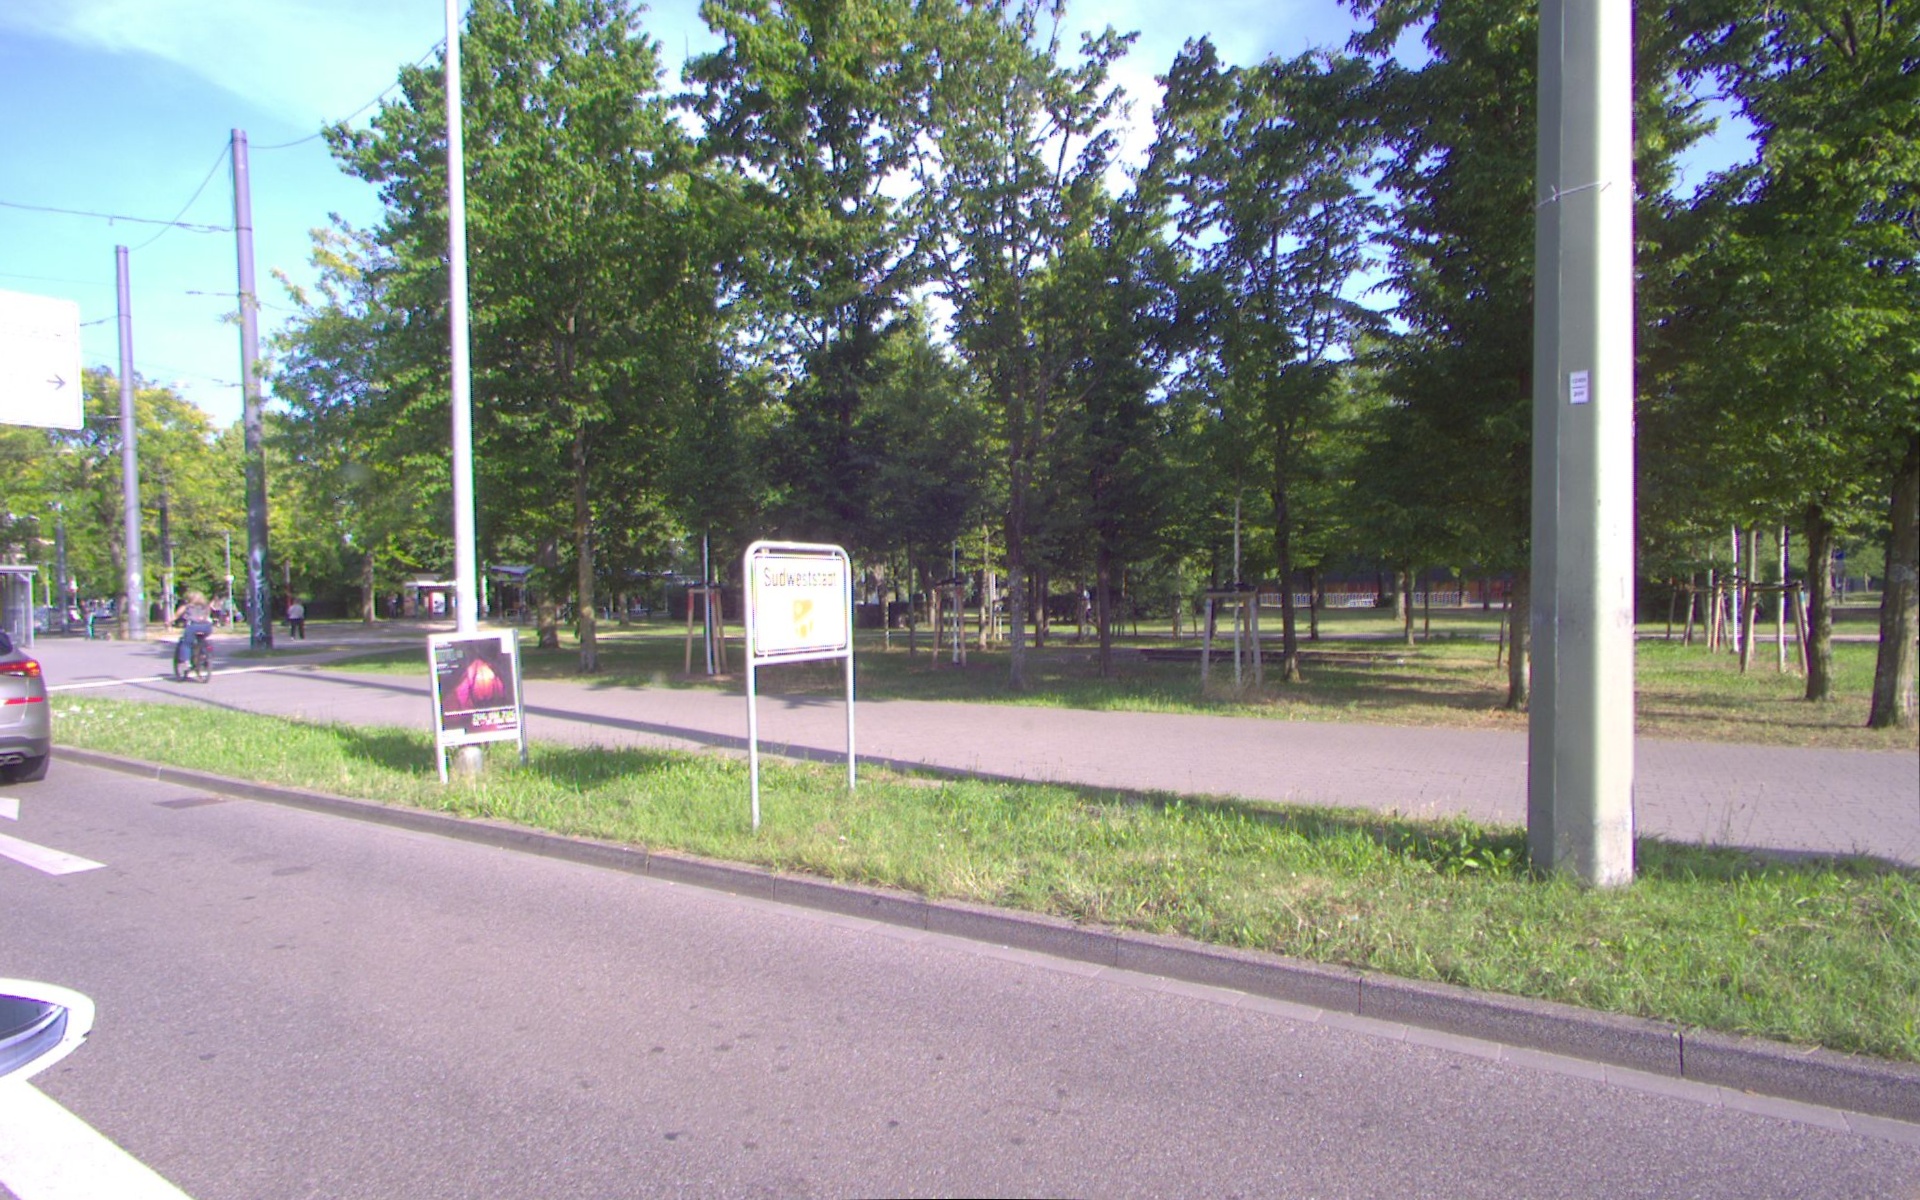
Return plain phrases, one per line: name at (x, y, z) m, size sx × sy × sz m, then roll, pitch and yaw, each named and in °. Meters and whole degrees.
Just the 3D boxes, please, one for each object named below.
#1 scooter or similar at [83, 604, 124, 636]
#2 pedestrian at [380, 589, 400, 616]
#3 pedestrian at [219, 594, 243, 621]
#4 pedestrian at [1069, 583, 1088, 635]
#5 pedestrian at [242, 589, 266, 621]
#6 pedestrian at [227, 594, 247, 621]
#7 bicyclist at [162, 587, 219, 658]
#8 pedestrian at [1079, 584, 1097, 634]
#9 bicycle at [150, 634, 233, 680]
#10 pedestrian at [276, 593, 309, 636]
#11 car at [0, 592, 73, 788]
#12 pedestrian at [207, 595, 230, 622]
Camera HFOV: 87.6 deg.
scooter or similar at (-31.531, 0.731, 36.874) m, size 1.305 × 1.132 × 0.420 m, roll -1°, pitch 1°, yaw 13°
pedestrian at (-35.458, 0.169, 62.273) m, size 0.792 × 1.659 × 0.832 m, roll 0°, pitch 1°, yaw 38°
pedestrian at (-41.103, 0.424, 56.451) m, size 0.688 × 1.508 × 0.813 m, roll 0°, pitch 1°, yaw 22°
pedestrian at (4.237, 0.304, 35.822) m, size 0.617 × 1.836 × 0.502 m, roll -1°, pitch 1°, yaw 6°
pedestrian at (-40.260, 0.302, 57.137) m, size 0.826 × 1.809 × 0.798 m, roll 0°, pitch 1°, yaw 28°
pedestrian at (-39.999, 0.414, 55.406) m, size 0.804 × 1.508 × 0.696 m, roll -2°, pitch 1°, yaw -33°
bicyclist at (-14.149, 0.408, 18.412) m, size 0.856 × 1.279 × 0.533 m, roll 0°, pitch 1°, yaw 32°
pedestrian at (4.668, 0.324, 36.520) m, size 0.617 × 1.836 × 0.502 m, roll -1°, pitch 1°, yaw 3°
bicycle at (-14.165, 1.033, 18.444) m, size 2.138 × 0.767 × 0.494 m, roll -1°, pitch 2°, yaw 33°
pedestrian at (-26.300, 0.559, 39.442) m, size 0.793 × 1.659 × 0.754 m, roll -1°, pitch 1°, yaw -7°
car at (-10.001, 0.800, 9.157) m, size 3.595 × 1.673 × 1.880 m, roll -1°, pitch 1°, yaw 32°
pedestrian at (-41.039, 0.469, 55.423) m, size 0.687 × 1.508 × 0.815 m, roll -1°, pitch 1°, yaw -9°
